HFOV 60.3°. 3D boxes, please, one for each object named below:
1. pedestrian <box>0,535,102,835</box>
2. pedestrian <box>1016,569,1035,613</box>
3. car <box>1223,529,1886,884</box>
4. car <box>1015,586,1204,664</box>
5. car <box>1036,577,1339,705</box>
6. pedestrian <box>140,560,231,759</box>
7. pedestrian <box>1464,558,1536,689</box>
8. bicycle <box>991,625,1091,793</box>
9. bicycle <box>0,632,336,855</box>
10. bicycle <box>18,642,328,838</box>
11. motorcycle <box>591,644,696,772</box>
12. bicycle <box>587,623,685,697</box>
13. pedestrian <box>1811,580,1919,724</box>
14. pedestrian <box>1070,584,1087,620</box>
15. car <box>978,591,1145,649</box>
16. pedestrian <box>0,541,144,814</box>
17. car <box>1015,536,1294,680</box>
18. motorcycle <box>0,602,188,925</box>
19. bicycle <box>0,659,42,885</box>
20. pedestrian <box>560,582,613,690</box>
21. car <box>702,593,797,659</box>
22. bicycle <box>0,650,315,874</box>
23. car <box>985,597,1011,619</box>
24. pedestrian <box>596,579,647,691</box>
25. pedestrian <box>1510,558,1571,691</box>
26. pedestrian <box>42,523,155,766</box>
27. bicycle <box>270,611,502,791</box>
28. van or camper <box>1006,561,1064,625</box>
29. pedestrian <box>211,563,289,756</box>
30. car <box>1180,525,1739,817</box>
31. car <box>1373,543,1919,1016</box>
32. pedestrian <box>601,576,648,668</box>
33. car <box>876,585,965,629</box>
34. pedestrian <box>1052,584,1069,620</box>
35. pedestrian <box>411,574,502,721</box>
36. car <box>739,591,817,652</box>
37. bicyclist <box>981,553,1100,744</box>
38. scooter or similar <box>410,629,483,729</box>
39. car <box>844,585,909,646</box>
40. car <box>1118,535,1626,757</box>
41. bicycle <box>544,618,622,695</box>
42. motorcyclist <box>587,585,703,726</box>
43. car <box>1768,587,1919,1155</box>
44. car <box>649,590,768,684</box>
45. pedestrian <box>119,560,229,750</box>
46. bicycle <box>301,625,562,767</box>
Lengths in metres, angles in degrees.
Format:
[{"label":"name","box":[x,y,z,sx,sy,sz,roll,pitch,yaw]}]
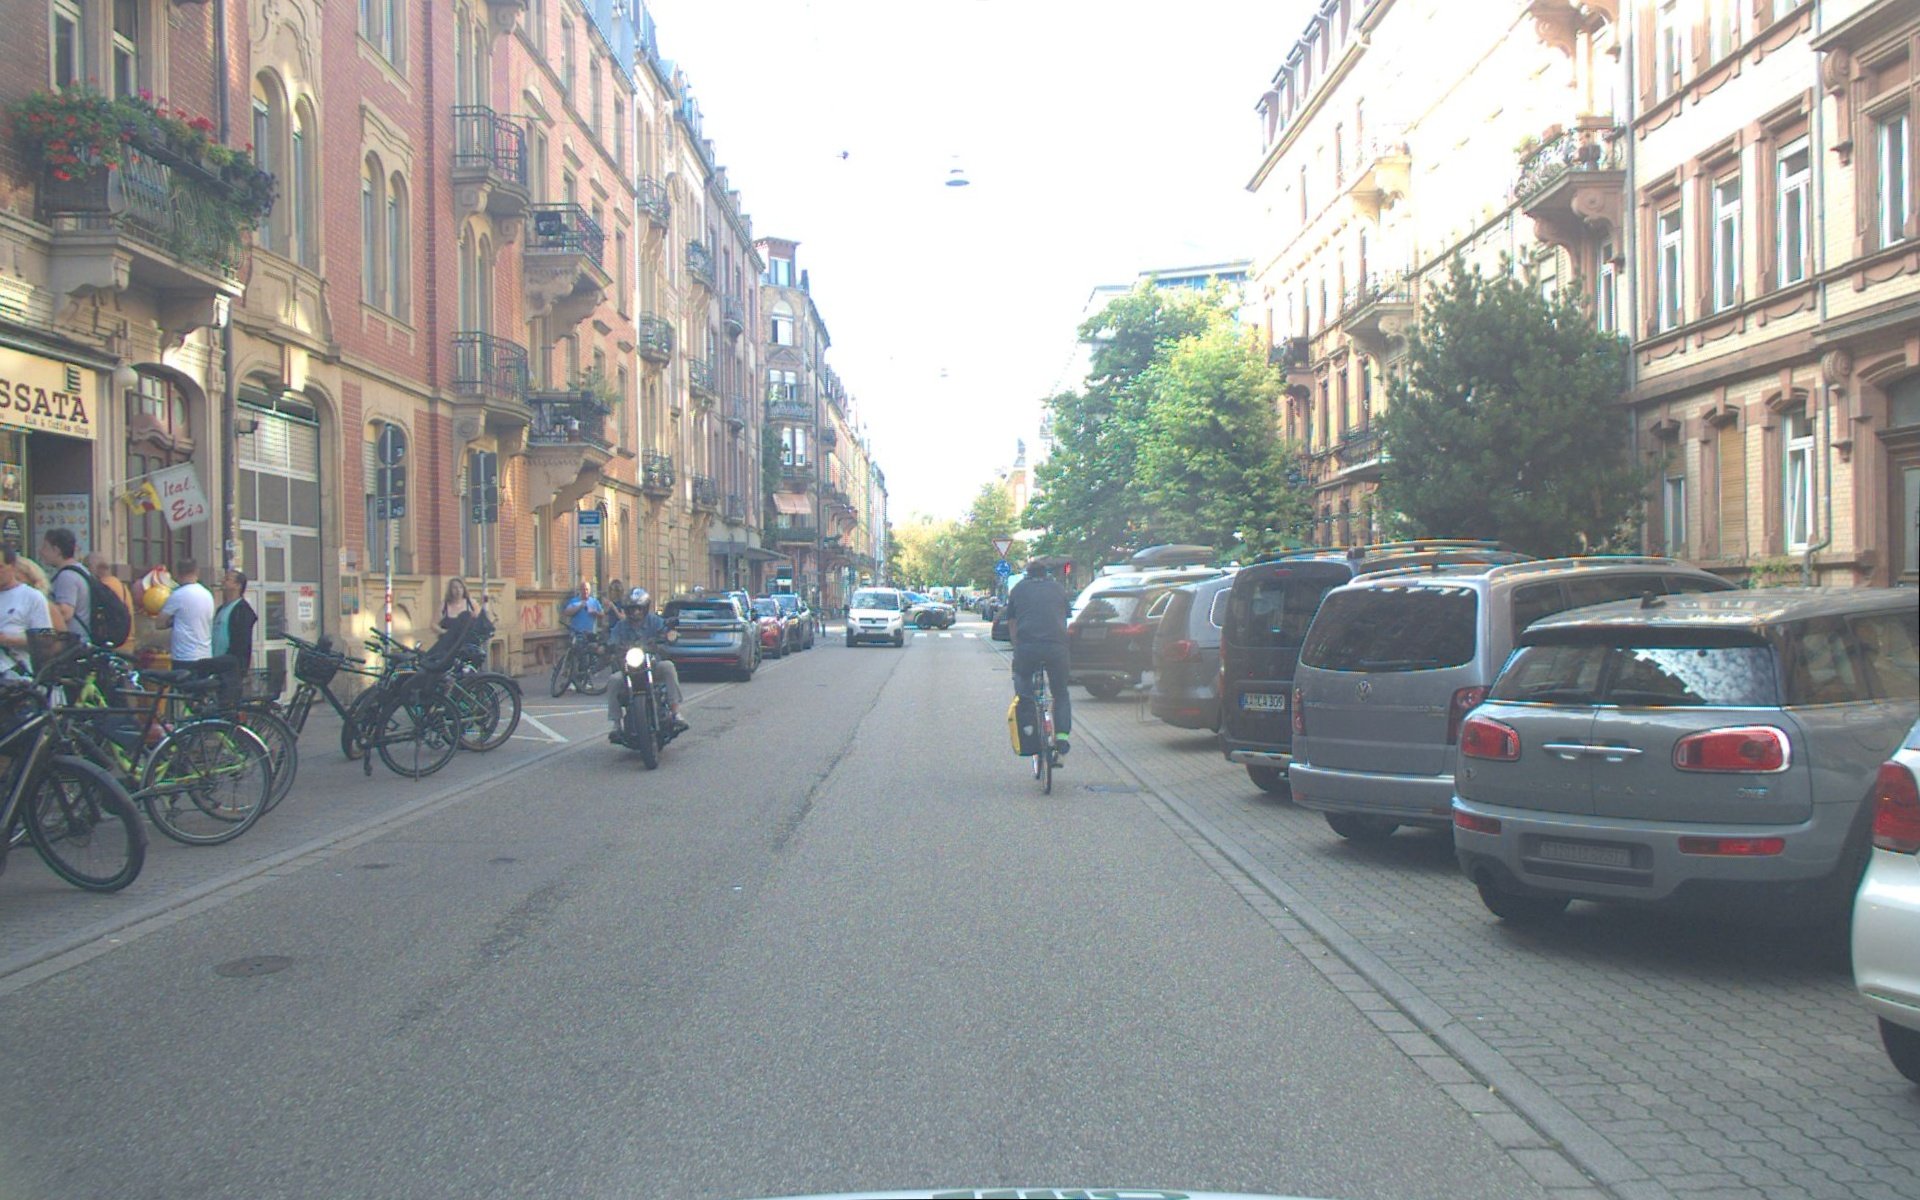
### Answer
[{"label":"pedestrian","box":[-5.919,0.503,10.251,0.591,1.782,0.946,0,0,11]},{"label":"pedestrian","box":[2.685,-0.375,67.538,0.615,1.769,0.776,-1,0,11]},{"label":"car","box":[3.755,0.509,10.291,3.949,1.771,1.820,-2,0,-32]},{"label":"car","box":[3.579,0.561,39.155,4.429,1.502,1.861,-5,2,-41]},{"label":"car","box":[3.454,0.546,24.776,4.408,1.762,1.975,0,0,-36]},{"label":"pedestrian","box":[-6.904,0.513,14.739,0.657,1.725,0.579,1,0,-32]},{"label":"pedestrian","box":[7.222,0.306,22.113,0.643,1.724,0.688,1,0,-44]},{"label":"bicycle","box":[0.617,0.820,13.401,0.652,1.198,2.496,0,0,-1]},{"label":"bicycle","box":[-4.771,0.815,10.000,1.772,1.221,0.583,1,0,-38]},{"label":"bicycle","box":[-5.007,0.851,10.584,1.719,1.140,0.548,1,0,-38]},{"label":"motorcycle","box":[-2.872,0.946,15.213,0.778,1.012,2.495,1,0,-7]},{"label":"bicycle","box":[-4.942,0.902,25.353,0.472,1.078,1.904,1,0,23]},{"label":"pedestrian","box":[8.241,0.462,15.044,0.588,1.240,0.673,-3,0,-1]},{"label":"pedestrian","box":[6.227,0.102,86.565,0.850,1.883,0.613,-1,0,4]},{"label":"car","box":[3.113,0.585,50.473,4.701,1.482,2.037,-3,2,-29]},{"label":"pedestrian","box":[-6.032,0.506,11.192,0.591,1.782,0.726,0,0,10]},{"label":"car","box":[3.658,0.095,30.630,5.098,2.447,1.895,-2,0,-34]},{"label":"motorcycle","box":[-4.500,0.716,7.489,0.692,1.408,2.025,1,0,14]},{"label":"bicycle","box":[-5.174,0.858,7.695,0.566,1.109,1.739,1,0,12]},{"label":"pedestrian","box":[-5.926,0.561,26.228,0.672,1.690,0.545,1,0,-31]},{"label":"car","box":[-5.334,0.638,42.449,1.953,1.572,4.425,-1,0,-2]},{"label":"bicycle","box":[-4.551,0.870,9.388,1.554,1.140,0.583,1,0,-38]},{"label":"car","box":[2.450,0.502,106.743,1.612,1.347,3.577,-3,0,1]},{"label":"pedestrian","box":[-5.345,0.547,26.108,0.559,1.739,0.659,1,0,-36]},{"label":"pedestrian","box":[7.540,0.312,21.495,0.561,1.688,0.632,0,0,-1]},{"label":"pedestrian","box":[-6.958,0.348,13.357,0.753,1.886,0.658,1,0,-32]},{"label":"bicycle","box":[-4.532,0.763,13.117,1.659,1.345,0.521,1,0,-37]},{"label":"van or camper","box":[3.715,-0.337,83.028,2.481,3.090,4.456,-1,0,-3]},{"label":"pedestrian","box":[-6.554,0.534,15.262,0.558,1.725,0.640,1,0,-32]},{"label":"car","box":[3.972,0.441,12.904,4.349,1.854,1.735,-3,0,-33]},{"label":"car","box":[3.931,0.568,7.678,3.960,1.575,1.843,-4,1,-38]},{"label":"pedestrian","box":[-6.872,0.446,33.919,0.740,1.840,0.863,1,0,3]},{"label":"car","box":[-1.764,0.316,73.636,3.906,1.915,1.999,0,0,-2]},{"label":"pedestrian","box":[5.275,0.120,86.718,0.850,1.883,0.613,-1,0,4]},{"label":"pedestrian","box":[-5.908,0.550,19.437,0.894,1.690,0.826,1,0,-9]},{"label":"car","box":[-5.208,0.603,47.924,1.754,1.657,4.846,-1,0,-1]},{"label":"bicyclist","box":[0.643,0.383,13.469,0.914,1.510,0.747,0,0,-1]},{"label":"scooter or similar","box":[-5.780,0.878,18.653,0.593,1.074,0.921,1,0,-6]},{"label":"car","box":[-2.654,0.486,53.276,1.878,1.860,4.437,0,0,0]},{"label":"car","box":[3.995,0.397,16.520,4.544,1.815,1.809,-3,2,-2]},{"label":"bicycle","box":[-5.679,0.830,25.021,0.482,1.114,1.906,1,0,8]},{"label":"motorcyclist","box":[-2.902,0.501,15.326,0.994,1.267,0.802,0,0,-7]},{"label":"car","box":[4.422,0.593,5.024,3.952,1.476,1.716,-4,0,-33]},{"label":"car","box":[-4.620,0.641,31.068,1.789,1.606,5.259,0,0,-4]},{"label":"pedestrian","box":[-7.341,0.500,15.471,0.650,1.725,0.763,1,0,-1]},{"label":"bicycle","box":[-4.826,0.838,15.268,0.792,1.179,2.261,0,0,36]}]
